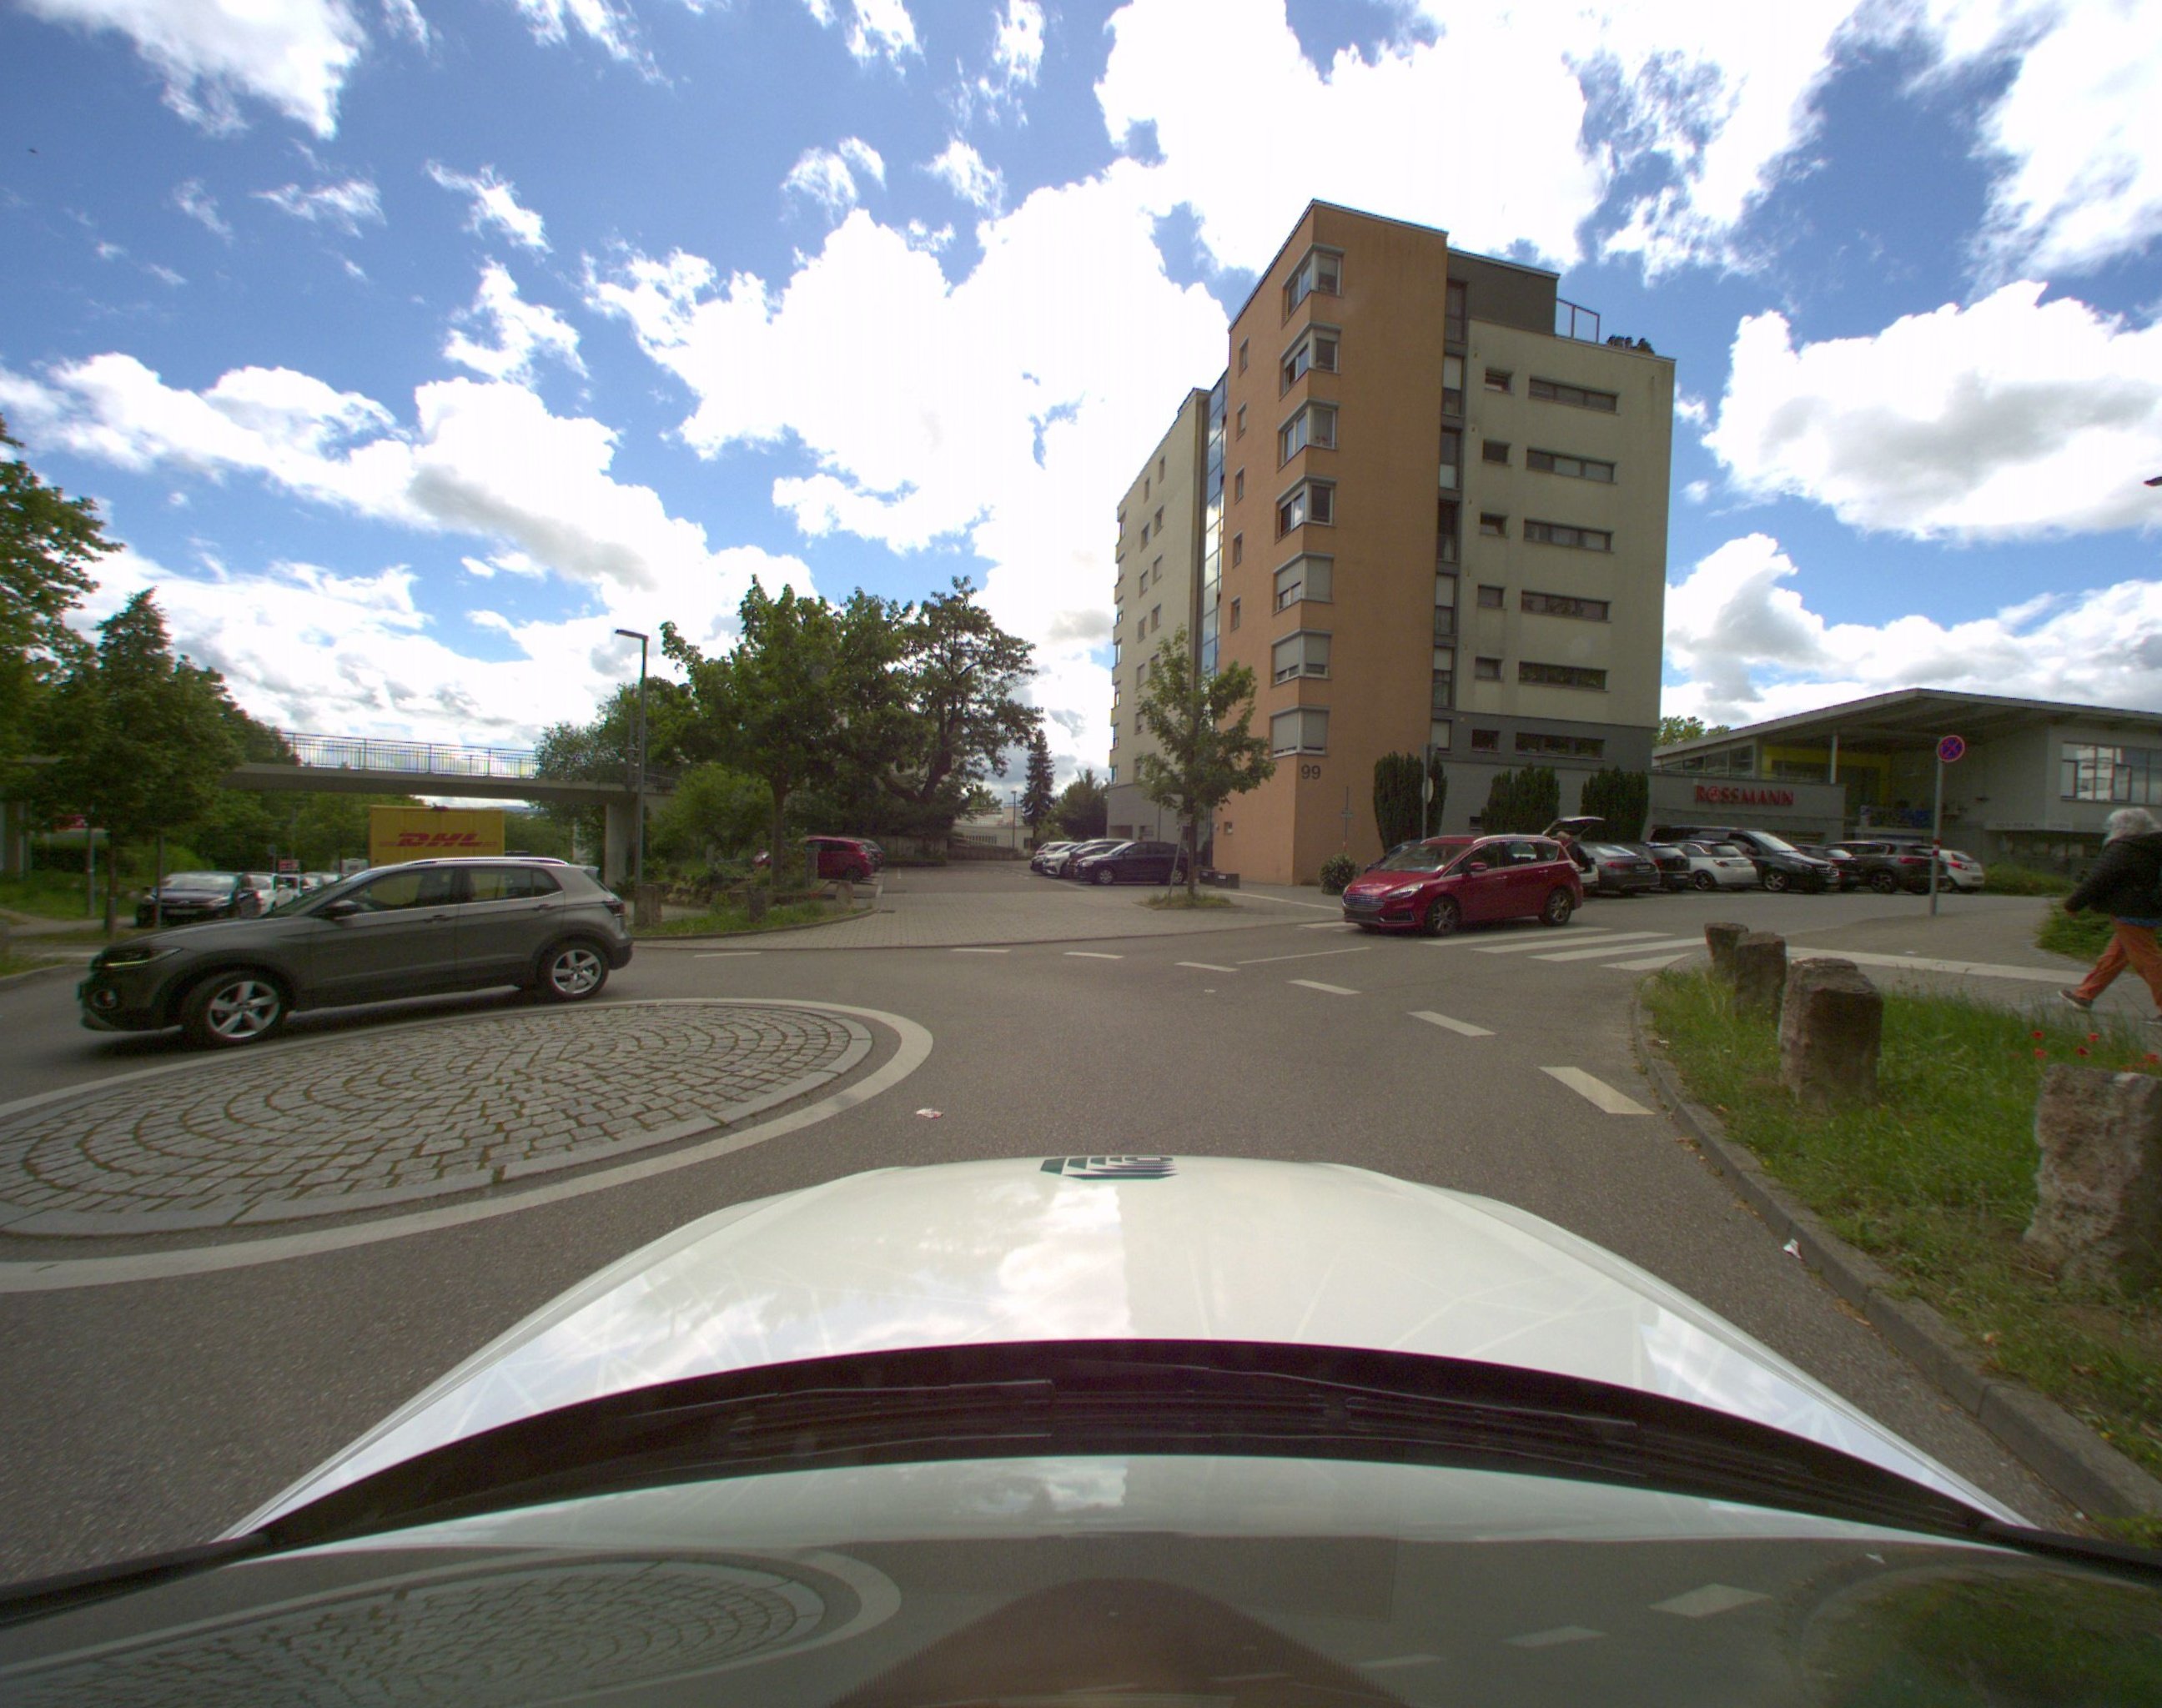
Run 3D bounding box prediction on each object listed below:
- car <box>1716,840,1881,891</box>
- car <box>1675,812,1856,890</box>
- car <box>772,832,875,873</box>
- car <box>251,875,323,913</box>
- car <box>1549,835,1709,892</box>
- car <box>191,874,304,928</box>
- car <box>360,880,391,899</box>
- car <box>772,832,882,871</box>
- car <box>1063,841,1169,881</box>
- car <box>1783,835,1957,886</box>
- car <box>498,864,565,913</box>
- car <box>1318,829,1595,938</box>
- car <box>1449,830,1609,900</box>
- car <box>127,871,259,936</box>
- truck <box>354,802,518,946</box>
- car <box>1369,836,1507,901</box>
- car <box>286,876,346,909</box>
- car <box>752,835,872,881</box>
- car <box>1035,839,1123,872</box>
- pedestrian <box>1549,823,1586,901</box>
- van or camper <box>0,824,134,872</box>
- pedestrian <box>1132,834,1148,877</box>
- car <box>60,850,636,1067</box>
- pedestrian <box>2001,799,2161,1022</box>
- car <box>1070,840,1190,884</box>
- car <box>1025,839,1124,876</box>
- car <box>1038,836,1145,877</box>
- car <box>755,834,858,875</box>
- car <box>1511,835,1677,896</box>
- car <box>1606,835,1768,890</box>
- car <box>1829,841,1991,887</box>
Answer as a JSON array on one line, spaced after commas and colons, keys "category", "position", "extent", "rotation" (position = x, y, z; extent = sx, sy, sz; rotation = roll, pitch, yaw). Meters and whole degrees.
[{"category": "car", "position": [23.116, 0.348, 26.425], "extent": [1.639, 1.482, 3.759], "rotation": [-2, 0, -14]}, {"category": "car", "position": [20.814, -0.067, 24.989], "extent": [1.826, 2.160, 3.958], "rotation": [1, -1, -14]}, {"category": "car", "position": [-10.779, -0.047, 34.240], "extent": [3.997, 1.614, 1.933], "rotation": [1, -1, -18]}, {"category": "car", "position": [-33.605, 1.652, 34.568], "extent": [1.900, 1.509, 4.399], "rotation": [1, -2, -41]}, {"category": "car", "position": [15.942, 0.260, 23.927], "extent": [1.639, 1.482, 3.759], "rotation": [-2, 0, -14]}, {"category": "car", "position": [-25.833, 1.394, 25.370], "extent": [1.899, 1.460, 3.507], "rotation": [1, -1, -37]}, {"category": "car", "position": [-58.868, 2.929, 67.983], "extent": [1.900, 1.509, 4.399], "rotation": [1, -2, -41]}, {"category": "car", "position": [-11.395, -0.090, 36.697], "extent": [4.555, 1.668, 1.933], "rotation": [1, -1, -18]}, {"category": "car", "position": [1.344, 0.292, 31.567], "extent": [3.828, 1.459, 1.686], "rotation": [1, -1, -11]}, {"category": "car", "position": [25.389, 0.199, 26.385], "extent": [1.639, 1.482, 3.759], "rotation": [-2, 0, -14]}, {"category": "car", "position": [-21.542, 1.385, 31.874], "extent": [1.828, 1.678, 4.319], "rotation": [0, -4, -39]}, {"category": "car", "position": [6.760, 0.442, 14.661], "extent": [4.540, 1.644, 1.965], "rotation": [-2, 0, -23]}, {"category": "car", "position": [11.726, 0.265, 21.586], "extent": [1.570, 1.659, 3.759], "rotation": [-2, 0, -14]}, {"category": "car", "position": [-23.049, 1.205, 21.294], "extent": [1.801, 1.468, 3.953], "rotation": [1, -1, -40]}, {"category": "truck", "position": [-14.744, 0.445, 18.709], "extent": [2.486, 2.702, 6.745], "rotation": [1, -2, -39]}, {"category": "car", "position": [9.059, 0.340, 20.970], "extent": [1.500, 1.476, 3.514], "rotation": [-3, 0, -10]}, {"category": "car", "position": [-36.843, 1.806, 39.324], "extent": [1.900, 1.509, 4.399], "rotation": [1, -2, -41]}, {"category": "car", "position": [-8.866, 0.136, 27.104], "extent": [3.656, 1.439, 1.675], "rotation": [1, -1, -16]}, {"category": "car", "position": [-0.134, 0.089, 38.977], "extent": [3.981, 1.517, 1.750], "rotation": [1, -1, -11]}, {"category": "pedestrian", "position": [11.503, 0.190, 19.247], "extent": [0.581, 1.812, 0.482], "rotation": [1, -1, -12]}, {"category": "van or camper", "position": [-47.269, -0.254, 37.271], "extent": [4.896, 2.086, 1.976], "rotation": [1, -1, -43]}, {"category": "pedestrian", "position": [2.605, 0.077, 35.882], "extent": [0.480, 1.853, 0.503], "rotation": [1, -1, -23]}, {"category": "car", "position": [-6.993, 0.800, 8.235], "extent": [1.700, 1.618, 4.034], "rotation": [-2, -1, 43]}, {"category": "pedestrian", "position": [8.176, 0.426, 6.552], "extent": [0.613, 1.665, 0.838], "rotation": [1, -1, -10]}, {"category": "car", "position": [1.735, 0.293, 29.496], "extent": [4.042, 1.517, 1.749], "rotation": [1, -1, -11]}, {"category": "car", "position": [-0.308, 0.173, 35.909], "extent": [4.049, 1.517, 1.746], "rotation": [1, -1, -16]}, {"category": "car", "position": [0.424, 0.112, 34.026], "extent": [4.129, 1.594, 1.683], "rotation": [1, -1, -18]}, {"category": "car", "position": [-10.597, 0.045, 31.679], "extent": [3.656, 1.498, 1.675], "rotation": [1, -1, -16]}, {"category": "car", "position": [13.869, 0.299, 22.273], "extent": [1.639, 1.482, 3.759], "rotation": [-2, 0, -14]}, {"category": "car", "position": [18.226, 0.241, 24.706], "extent": [1.639, 1.482, 3.759], "rotation": [-2, 0, -14]}, {"category": "car", "position": [29.661, 0.342, 29.291], "extent": [1.639, 1.482, 3.759], "rotation": [-2, 0, -14]}]
